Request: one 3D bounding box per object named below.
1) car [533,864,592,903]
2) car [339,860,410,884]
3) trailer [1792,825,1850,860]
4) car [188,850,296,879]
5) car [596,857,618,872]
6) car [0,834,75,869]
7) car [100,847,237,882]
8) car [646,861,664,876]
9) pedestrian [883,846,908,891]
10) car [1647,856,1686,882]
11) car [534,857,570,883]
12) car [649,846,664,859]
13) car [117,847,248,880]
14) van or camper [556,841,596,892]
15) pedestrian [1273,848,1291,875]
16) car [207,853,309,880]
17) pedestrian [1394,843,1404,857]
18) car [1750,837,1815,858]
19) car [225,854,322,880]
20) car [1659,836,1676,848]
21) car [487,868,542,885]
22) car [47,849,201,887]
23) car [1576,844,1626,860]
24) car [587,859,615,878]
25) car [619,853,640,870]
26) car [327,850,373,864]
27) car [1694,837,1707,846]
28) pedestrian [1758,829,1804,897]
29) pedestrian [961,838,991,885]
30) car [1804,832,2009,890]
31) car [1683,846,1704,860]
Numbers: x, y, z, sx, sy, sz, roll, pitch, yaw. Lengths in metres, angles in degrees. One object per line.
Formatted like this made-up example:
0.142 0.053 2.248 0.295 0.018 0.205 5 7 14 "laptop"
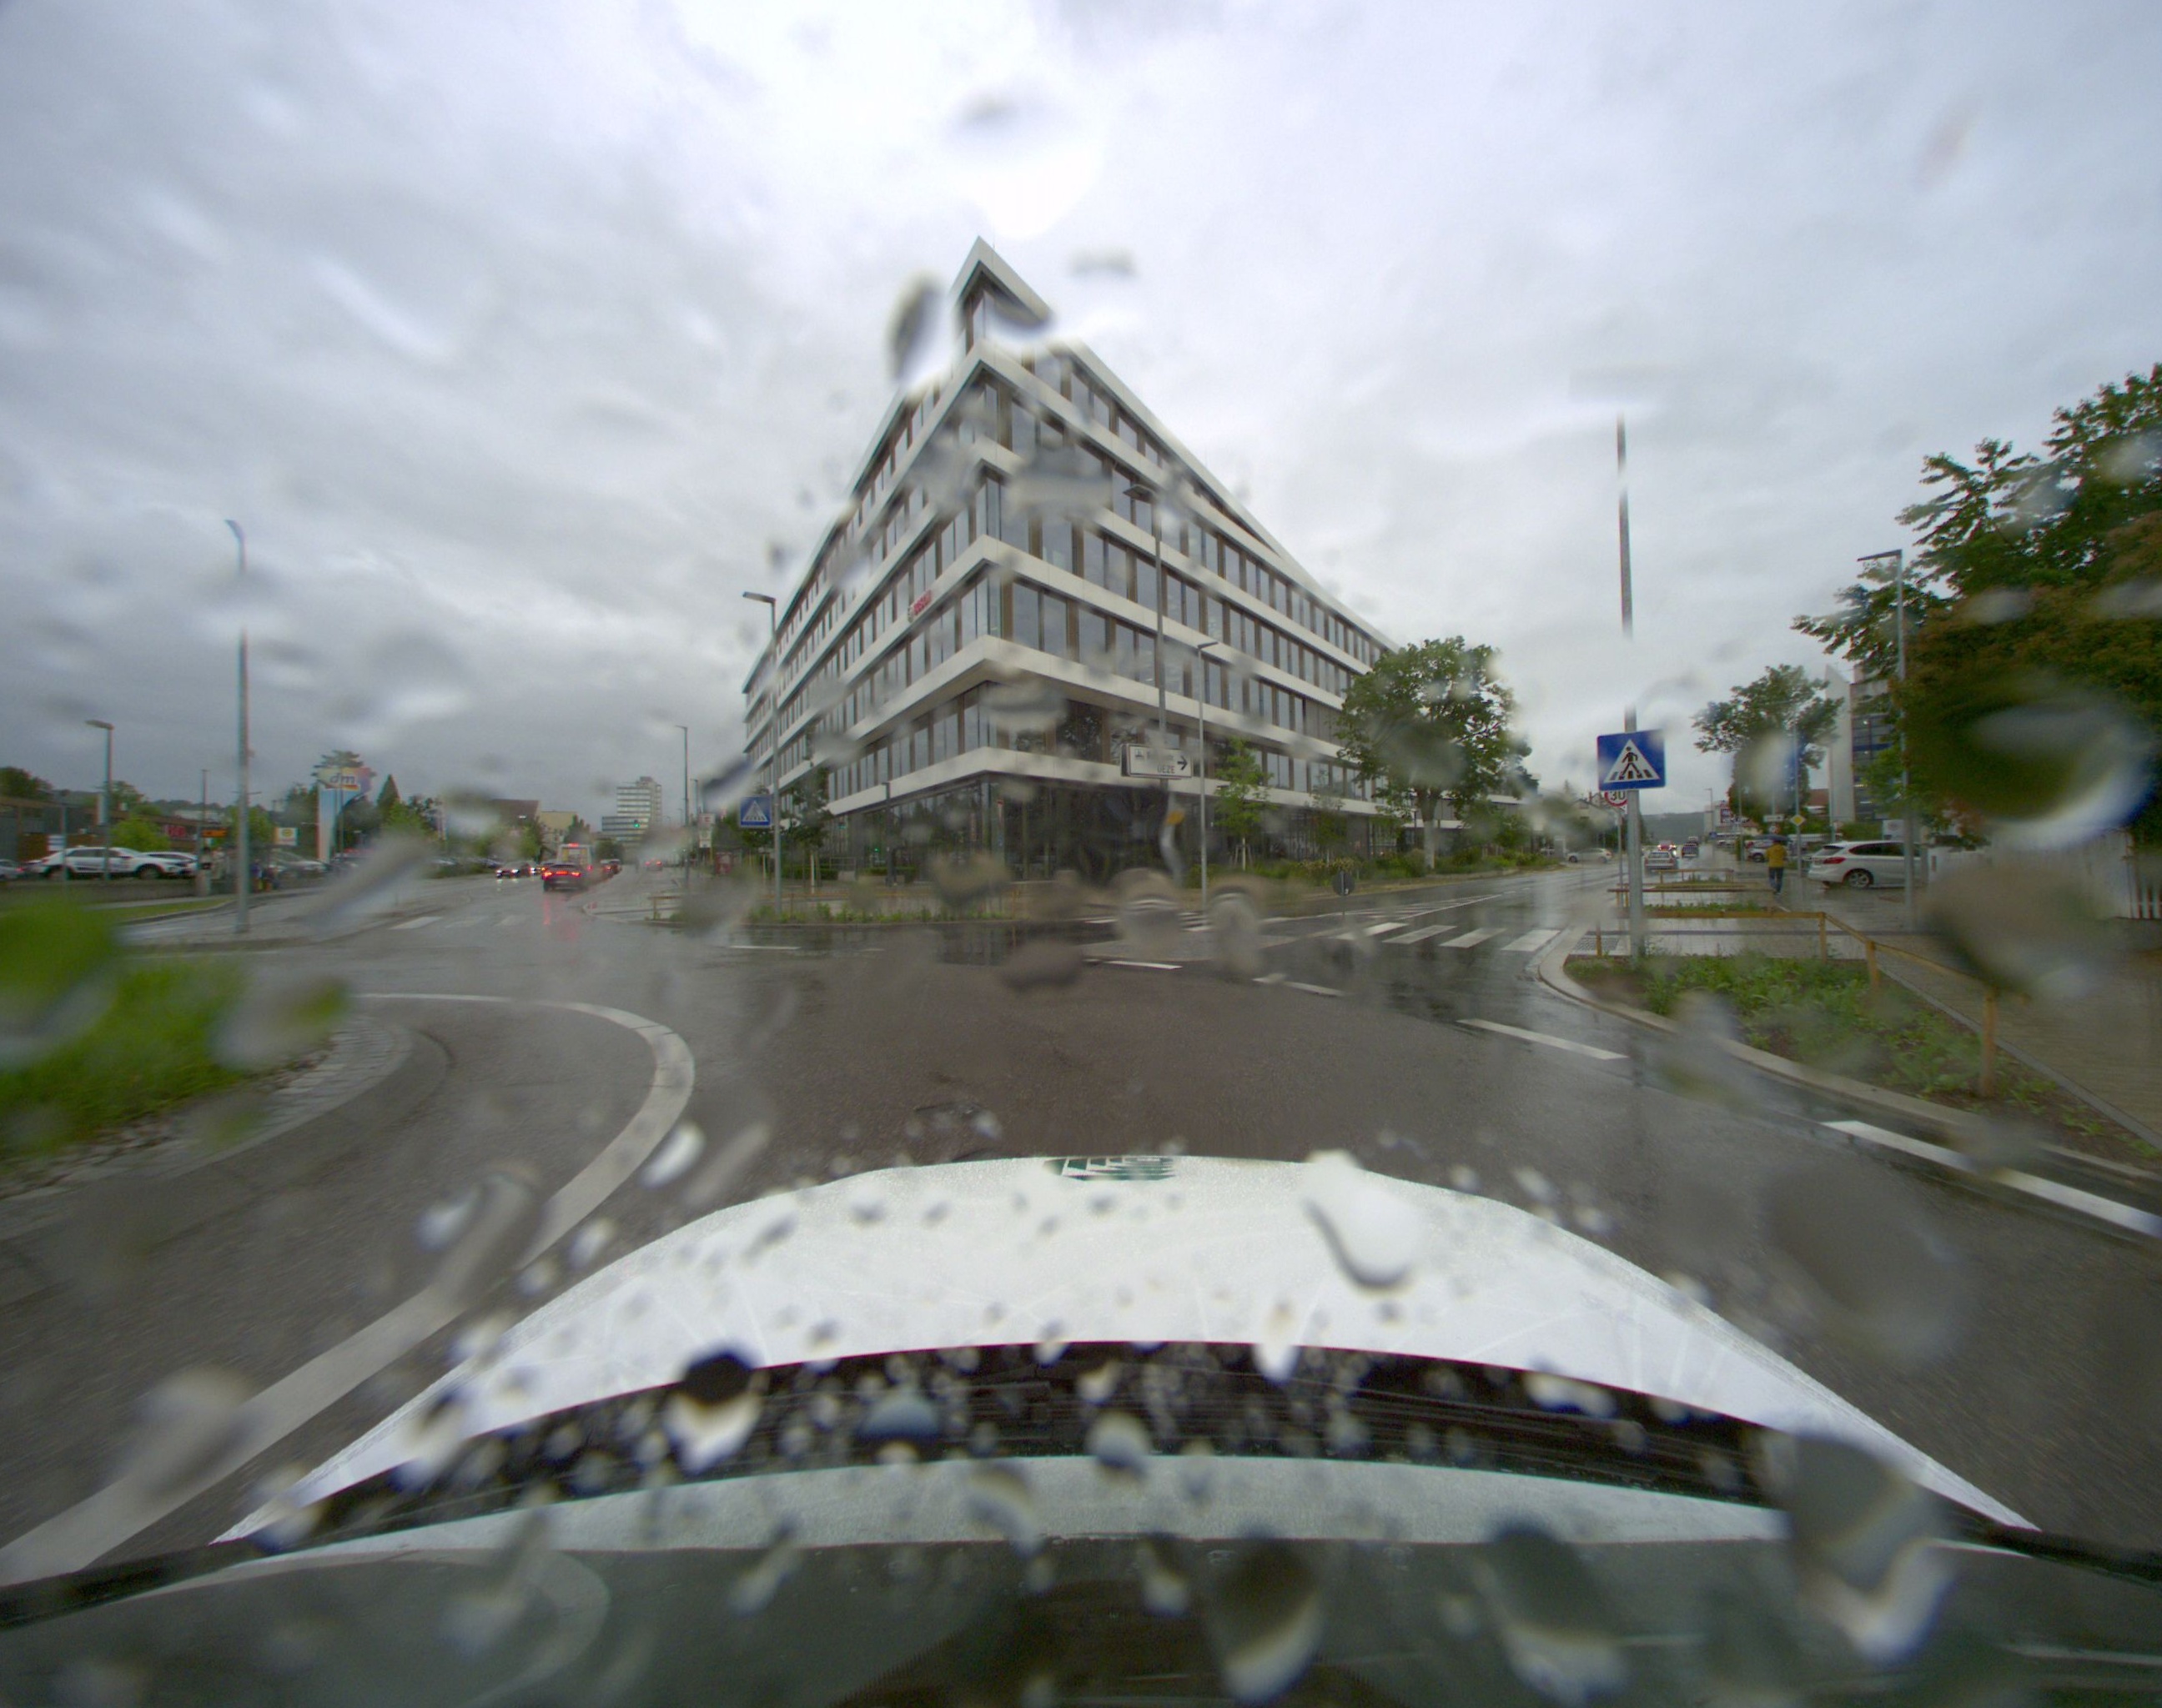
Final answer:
-26.842 1.473 42.311 2.003 1.727 3.969 0 2 -24 "car"
-57.658 1.483 66.553 4.013 1.727 1.981 2 1 -32 "car"
47.874 -0.749 52.730 2.676 2.171 1.558 -1 0 40 "trailer"
-48.758 0.596 47.432 4.013 1.552 1.777 -1 0 -31 "car"
-52.432 1.113 90.186 2.005 1.618 3.963 0 0 -29 "car"
-67.626 -0.182 52.671 2.007 2.013 3.960 2 1 -33 "car"
-43.534 0.460 38.989 4.013 1.552 1.777 -1 0 -31 "car"
-57.269 1.945 109.444 2.004 1.859 3.967 2 1 -26 "car"
-9.144 0.691 40.097 1.007 2.145 0.924 -1 0 -26 "pedestrian"
38.265 0.964 53.269 1.930 1.555 4.025 3 1 35 "car"
-43.985 1.322 67.751 2.004 1.859 3.967 2 1 -26 "car"
-68.359 -0.235 131.107 2.004 1.859 3.967 2 1 -26 "car"
-44.667 0.453 40.611 4.013 1.552 1.777 -1 0 -31 "car"
-32.243 0.722 52.082 2.006 3.087 5.053 -1 2 -30 "van or camper"
13.222 0.508 53.560 0.717 1.703 0.962 3 1 41 "pedestrian"
-50.029 0.747 49.603 4.013 1.552 1.777 -1 0 -31 "car"
41.070 -0.532 105.261 1.003 1.724 0.777 -1 0 36 "pedestrian"
63.797 -0.594 74.116 2.011 1.650 4.170 -1 -2 -42 "car"
-51.263 0.788 51.801 4.013 1.552 1.777 -1 0 -31 "car"
93.852 -1.862 130.292 1.983 1.818 5.011 -1 0 37 "car"
-52.577 2.055 75.660 1.982 1.398 4.010 -1 0 9 "car"
-42.212 0.570 36.056 4.013 1.552 1.834 -1 0 -31 "car"
51.138 -0.177 80.130 3.890 1.423 1.910 -1 0 39 "car"
-42.814 1.257 72.650 2.005 1.618 3.963 0 0 -29 "car"
-59.156 0.908 106.763 2.004 2.013 3.967 -2 2 -25 "car"
-94.024 0.354 104.772 4.011 1.650 1.982 2 1 -30 "car"
124.822 -2.555 164.094 1.975 1.705 4.025 3 1 38 "car"
21.621 0.283 25.177 0.850 2.014 1.203 -4 -2 36 "pedestrian"
-4.582 0.303 35.568 0.882 2.013 0.937 -1 0 34 "pedestrian"
26.252 0.245 26.110 4.091 1.580 2.011 -3 -1 24 "car"
81.748 -0.129 108.653 2.134 1.705 4.025 3 1 38 "car"
